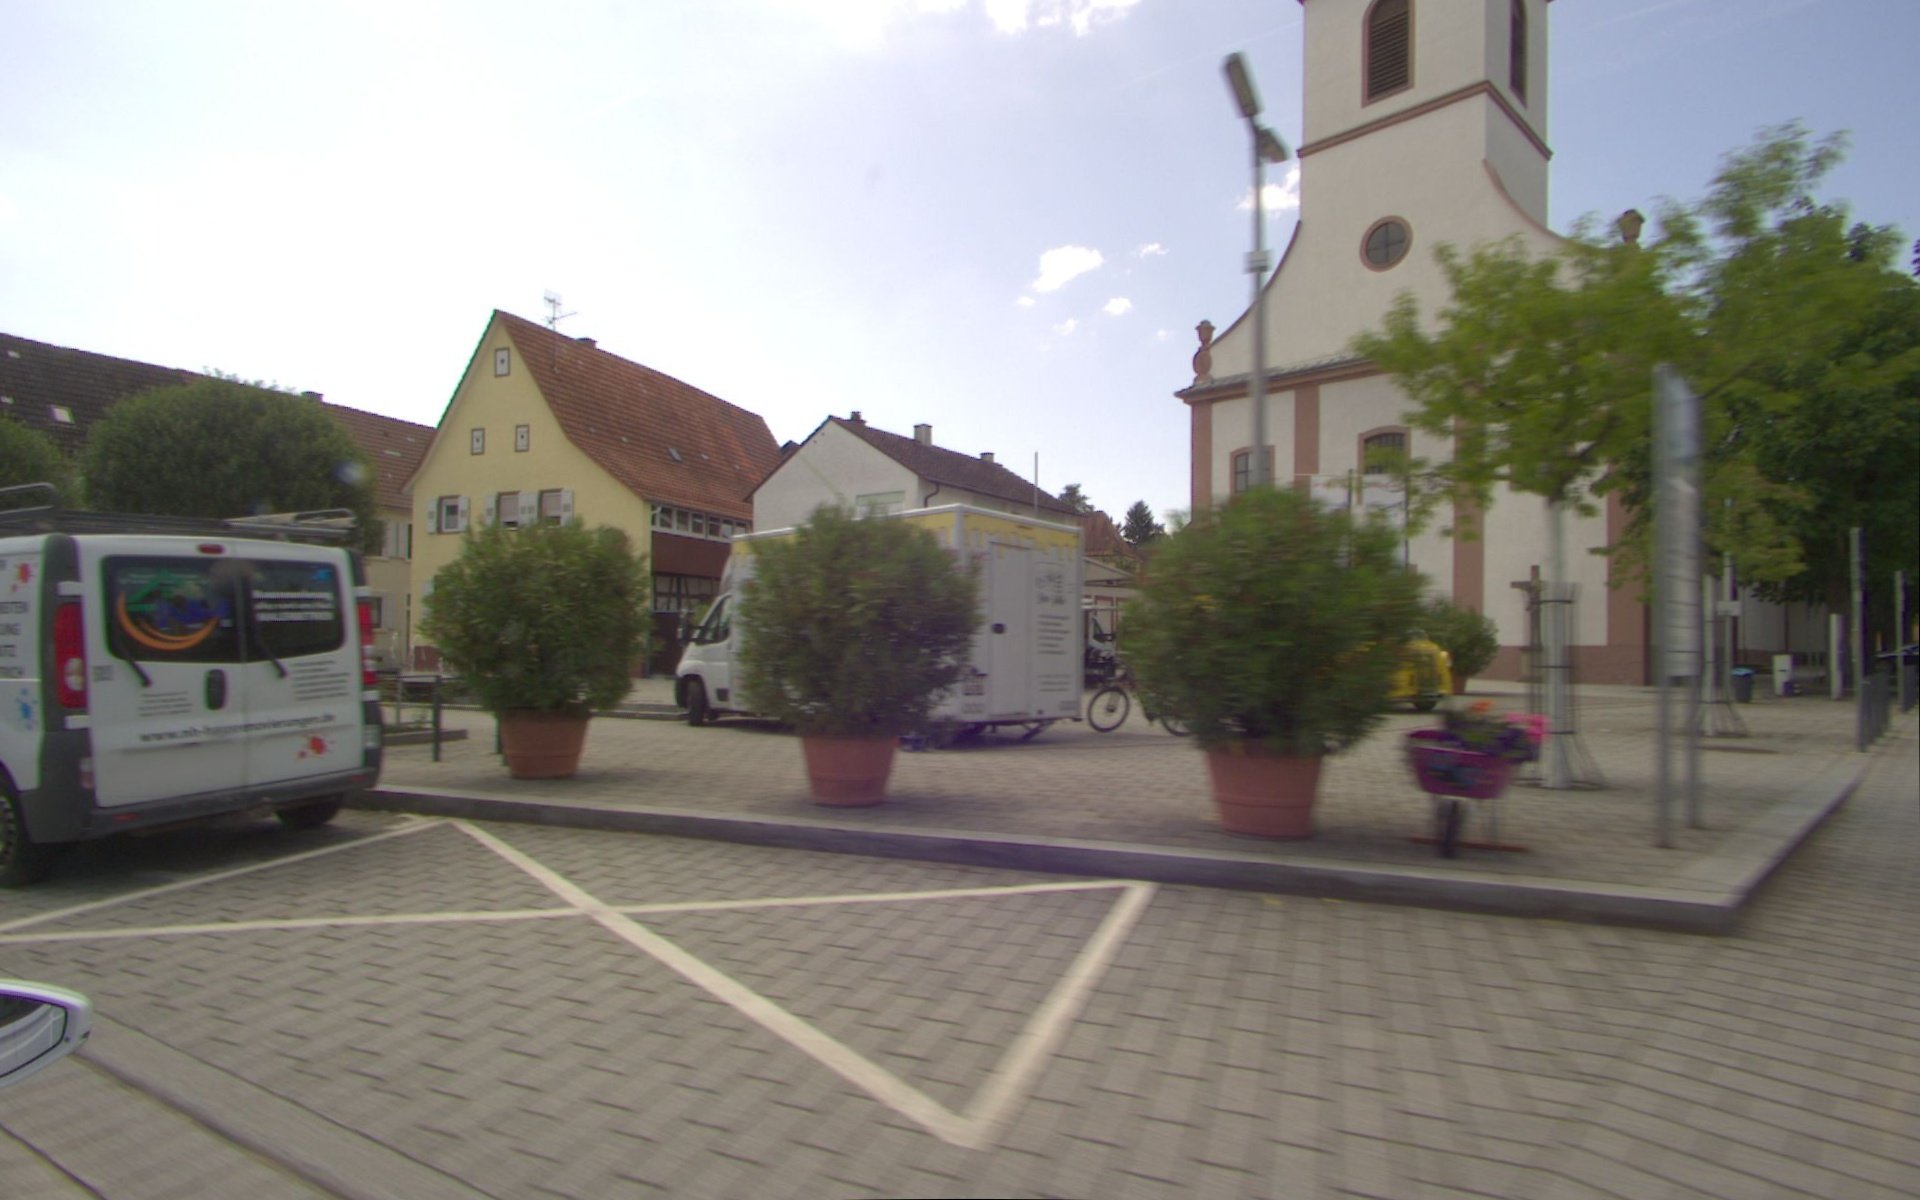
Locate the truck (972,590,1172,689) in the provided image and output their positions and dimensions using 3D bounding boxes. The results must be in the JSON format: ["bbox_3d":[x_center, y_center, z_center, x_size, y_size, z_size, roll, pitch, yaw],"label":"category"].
[{"bbox_3d":[3.463,1.177,29.232,2.918,2.529,6.786,-1,-3,35],"label":"truck"}]

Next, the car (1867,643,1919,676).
[{"bbox_3d":[38.264,2.351,39.362,3.814,1.244,1.715,-2,-3,45],"label":"car"}]

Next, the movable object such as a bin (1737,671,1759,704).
[{"bbox_3d":[17.822,1.975,22.648,0.360,0.708,0.292,-1,-2,34],"label":"movable object such as a bin"}]

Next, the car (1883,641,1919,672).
[{"bbox_3d":[40.435,2.343,41.039,3.814,1.244,1.715,-2,-3,45],"label":"car"}]

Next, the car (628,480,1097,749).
[{"bbox_3d":[-1.715,0.344,14.552,7.035,2.999,2.740,-2,-4,42],"label":"car"}]

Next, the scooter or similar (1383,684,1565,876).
[{"bbox_3d":[2.950,0.959,5.705,0.804,0.892,1.139,-1,-2,33],"label":"scooter or similar"}]

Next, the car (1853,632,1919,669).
[{"bbox_3d":[43.906,2.331,46.203,3.959,1.679,1.982,-2,-3,44],"label":"car"}]

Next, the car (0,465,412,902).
[{"bbox_3d":[-6.420,0.456,6.990,5.017,2.206,1.943,-1,0,25],"label":"car"}]

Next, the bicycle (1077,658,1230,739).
[{"bbox_3d":[2.833,1.411,14.698,2.077,1.082,0.755,0,-2,24],"label":"bicycle"}]

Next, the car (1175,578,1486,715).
[{"bbox_3d":[7.723,1.002,22.051,2.608,2.508,6.951,1,-2,-19],"label":"car"}]
